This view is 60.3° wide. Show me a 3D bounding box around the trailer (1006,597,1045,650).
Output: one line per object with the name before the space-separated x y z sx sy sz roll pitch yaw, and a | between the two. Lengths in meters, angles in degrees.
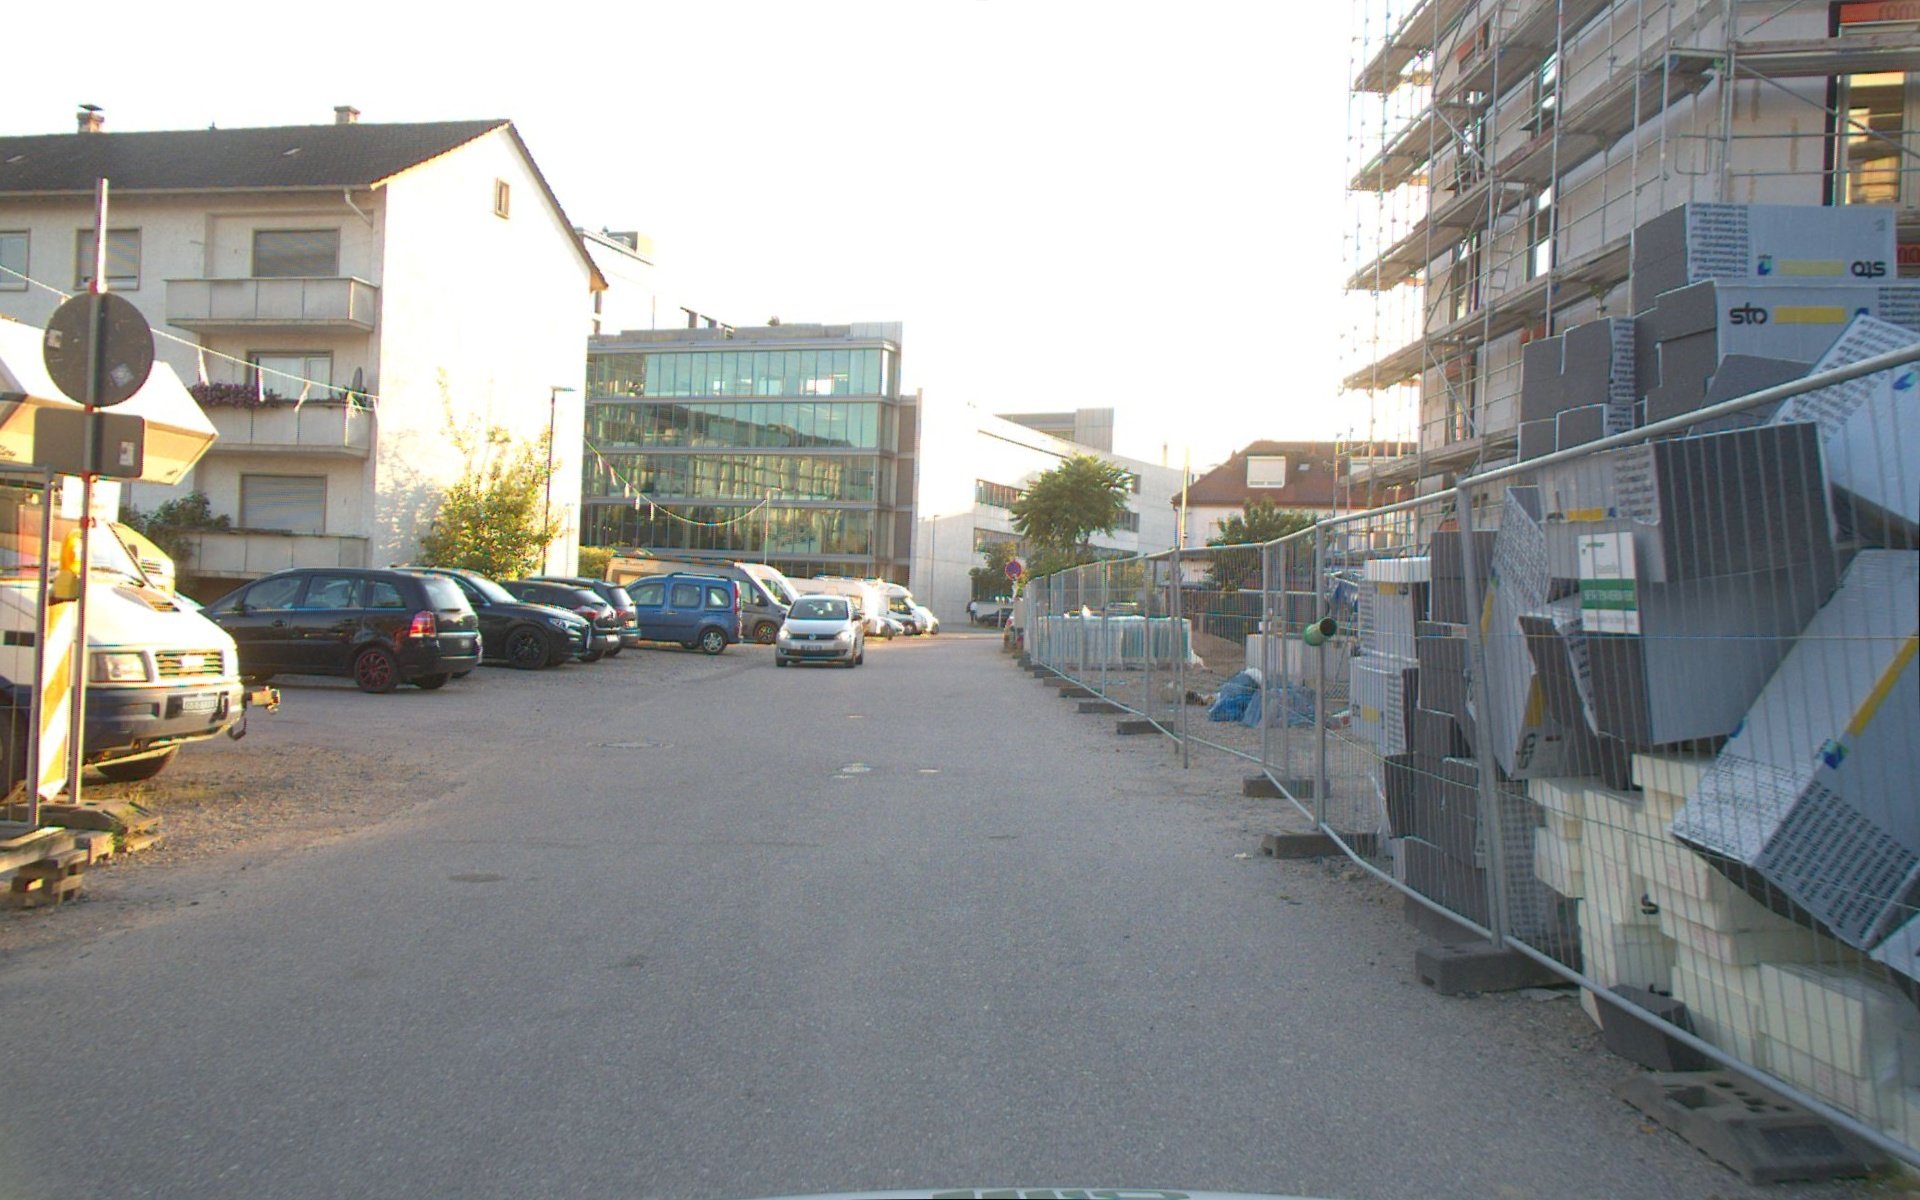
trailer | 2.165 0.774 54.960 1.224 1.694 2.803 0 -1 1

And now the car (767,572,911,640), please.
car | -5.346 0.279 73.282 5.763 2.578 2.413 4 -2 11

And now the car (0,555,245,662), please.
car | -13.679 0.144 26.749 1.804 1.550 4.154 2 -1 11

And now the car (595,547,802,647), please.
car | -8.460 -0.065 54.006 6.260 2.760 2.112 4 -2 -2

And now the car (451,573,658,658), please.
car | -8.505 0.314 34.838 3.842 1.608 1.644 2 0 9

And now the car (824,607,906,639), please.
car | -4.700 1.142 81.874 3.727 1.352 1.694 3 0 8

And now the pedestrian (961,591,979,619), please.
pedestrian | 0.674 0.346 114.942 0.892 1.883 0.845 1 0 -37

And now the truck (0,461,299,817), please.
truck | -7.888 0.134 11.073 5.887 2.079 2.356 2 -1 2

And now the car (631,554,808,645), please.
car | -8.407 -0.027 58.172 5.705 2.760 2.051 4 0 3

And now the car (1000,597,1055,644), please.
car | 2.657 0.805 64.301 1.767 1.755 4.931 0 -1 7

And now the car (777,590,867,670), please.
car | -3.065 0.664 37.497 1.636 1.648 4.285 2 0 0

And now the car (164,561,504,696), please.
car | -8.626 0.382 22.966 3.950 1.648 1.851 2 -1 9

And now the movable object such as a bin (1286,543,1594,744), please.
movable object such as a bin | 6.423 0.527 23.461 2.022 2.313 8.368 1 0 1

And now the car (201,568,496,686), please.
car | -9.452 0.380 25.708 3.842 1.547 1.810 3 1 9

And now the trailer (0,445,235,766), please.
trailer | -9.124 -0.037 14.242 4.691 2.475 2.135 3 -2 6

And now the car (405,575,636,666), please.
car | -8.297 0.396 31.363 3.842 1.543 1.644 2 -1 9

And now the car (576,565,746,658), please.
car | -7.169 0.262 40.012 3.852 1.944 1.745 4 0 -8

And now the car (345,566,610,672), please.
car | -8.294 0.296 28.660 4.004 1.656 1.821 2 1 2

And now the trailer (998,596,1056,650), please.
trailer | 2.387 0.803 57.843 1.694 1.809 4.940 0 -1 6

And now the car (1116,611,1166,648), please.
car | 11.078 1.781 100.994 2.022 2.131 4.874 1 0 18

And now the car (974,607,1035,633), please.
car | 2.981 1.345 110.535 3.656 1.507 1.771 3 1 16

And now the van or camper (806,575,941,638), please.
van or camper | -4.518 0.352 87.210 6.597 2.948 2.410 3 0 11
